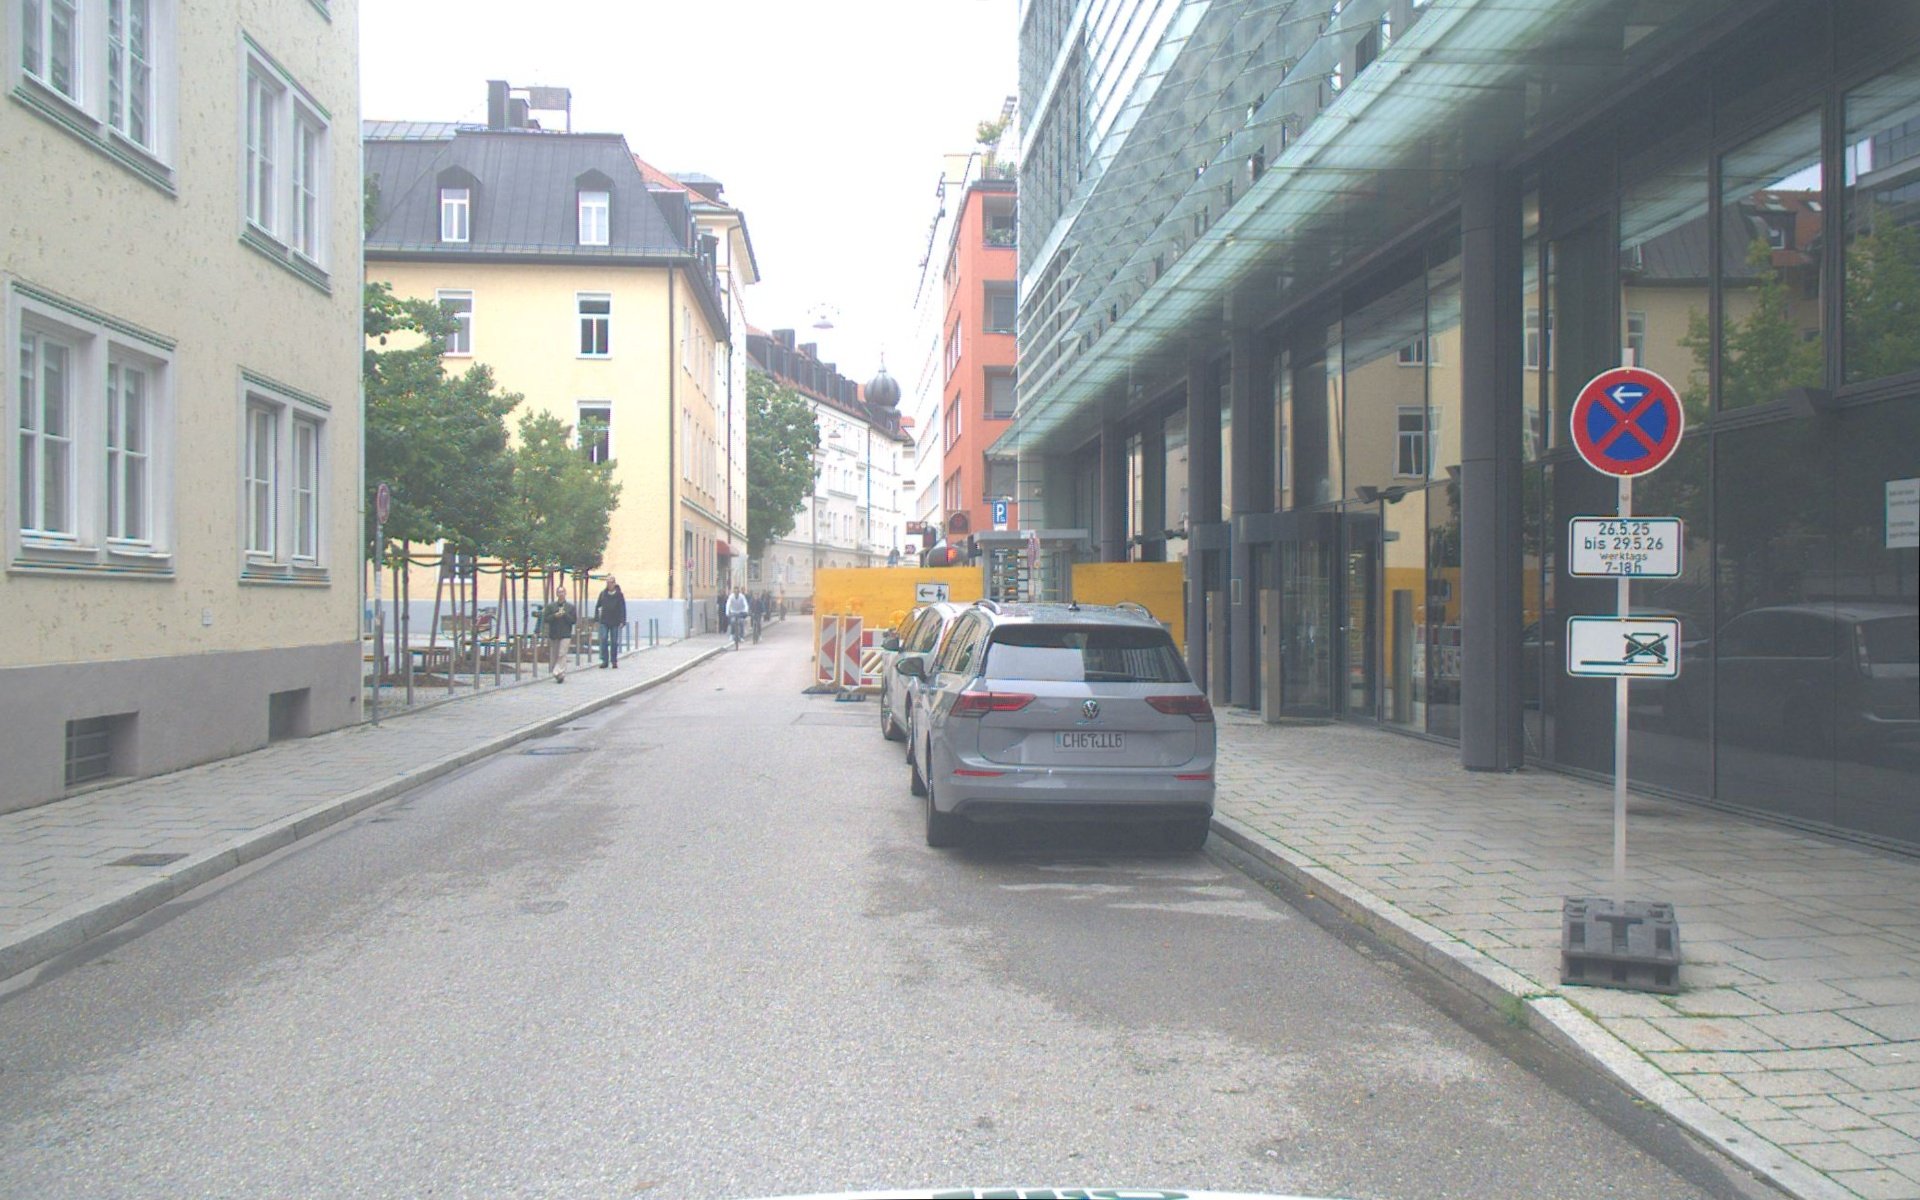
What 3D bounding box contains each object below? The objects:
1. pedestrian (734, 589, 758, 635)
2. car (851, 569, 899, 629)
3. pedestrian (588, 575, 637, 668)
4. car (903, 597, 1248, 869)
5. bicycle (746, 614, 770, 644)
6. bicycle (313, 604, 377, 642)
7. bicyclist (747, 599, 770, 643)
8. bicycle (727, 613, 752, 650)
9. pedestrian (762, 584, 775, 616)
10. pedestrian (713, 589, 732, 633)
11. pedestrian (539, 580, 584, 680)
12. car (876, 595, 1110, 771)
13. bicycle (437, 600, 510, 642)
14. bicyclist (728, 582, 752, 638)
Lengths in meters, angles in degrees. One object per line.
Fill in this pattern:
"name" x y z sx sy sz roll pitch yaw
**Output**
"pedestrian" -8.070 0.449 62.460 0.823 1.730 0.802 1 -1 -5
"car" -3.822 -0.048 73.504 1.955 2.581 4.970 1 0 -5
"pedestrian" -7.333 0.443 34.938 0.851 1.914 1.133 1 -1 -5
"car" 0.560 0.722 11.126 1.674 1.457 4.325 0 0 -5
"bicycle" -6.531 0.941 53.594 0.694 0.921 1.808 0 0 -5
"bicycle" -18.172 0.673 48.885 1.622 1.088 0.598 1 0 -1
"bicyclist" -6.536 0.670 53.627 0.694 1.395 0.812 0 0 -5
"bicycle" -6.550 0.922 49.192 0.648 1.057 2.003 0 0 -5
"pedestrian" -10.039 -0.006 86.870 0.622 1.704 0.517 1 0 -5
"pedestrian" -9.030 0.420 62.835 0.657 1.677 0.761 1 -1 -5
"pedestrian" -6.916 0.519 28.749 0.634 1.706 0.723 1 -1 -5
"car" 0.189 0.733 16.403 1.675 1.493 4.230 2 0 -8
"bicycle" -14.530 0.624 49.460 2.001 1.218 0.570 1 0 2
"bicyclist" -6.539 0.294 49.117 0.646 1.671 0.894 0 0 -5
